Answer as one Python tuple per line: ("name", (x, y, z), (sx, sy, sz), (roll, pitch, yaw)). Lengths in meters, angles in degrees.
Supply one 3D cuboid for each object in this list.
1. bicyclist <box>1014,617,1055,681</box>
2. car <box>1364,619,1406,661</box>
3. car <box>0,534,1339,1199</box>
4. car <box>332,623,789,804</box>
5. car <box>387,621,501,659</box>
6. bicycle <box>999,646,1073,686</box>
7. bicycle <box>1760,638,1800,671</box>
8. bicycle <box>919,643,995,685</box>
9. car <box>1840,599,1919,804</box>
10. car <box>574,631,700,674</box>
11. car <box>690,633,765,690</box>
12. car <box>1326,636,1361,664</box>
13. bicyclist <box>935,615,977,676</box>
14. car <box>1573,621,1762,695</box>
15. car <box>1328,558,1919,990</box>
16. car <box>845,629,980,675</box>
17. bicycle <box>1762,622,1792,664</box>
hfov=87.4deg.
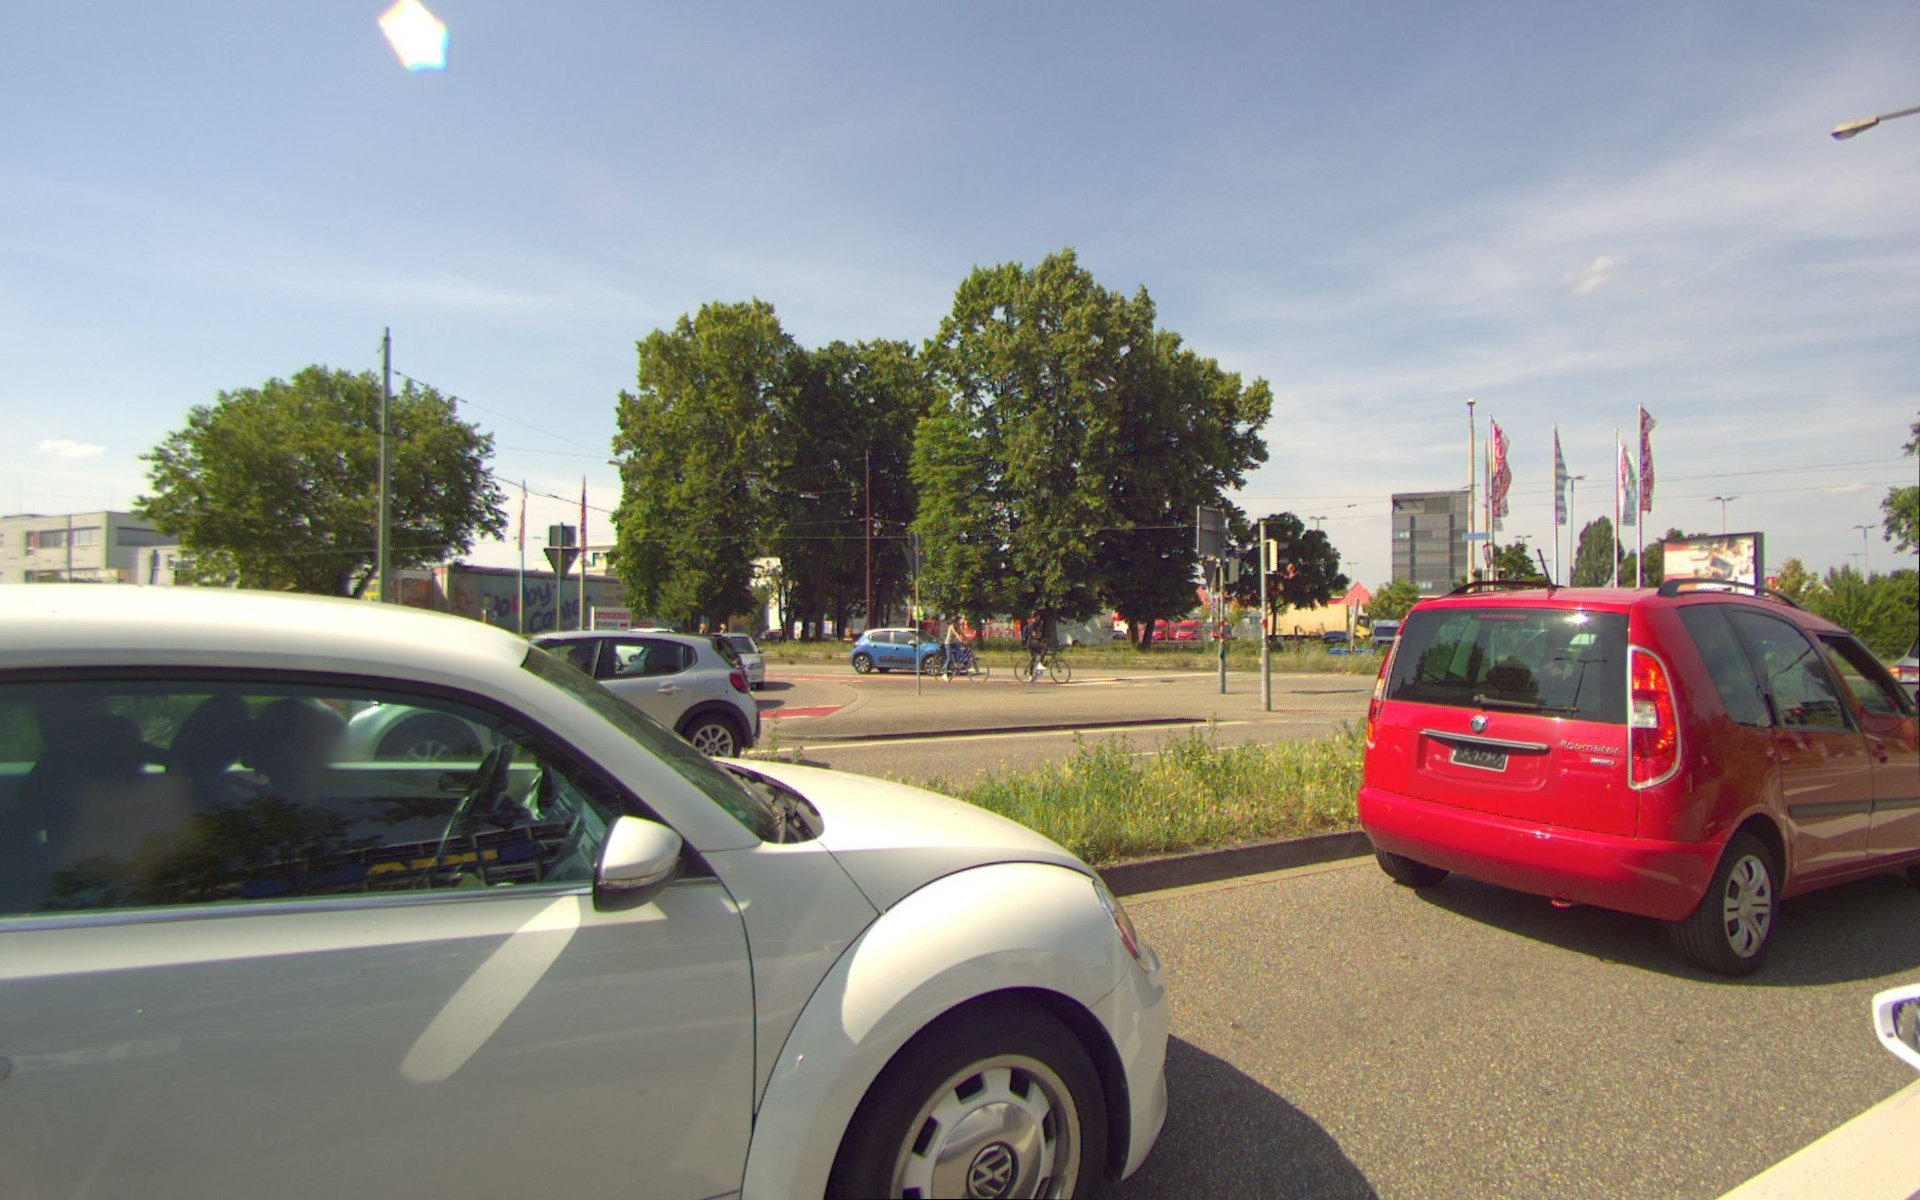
("bicyclist", (2.065, 1.348, 27.927), (0.883, 1.738, 0.782), (-1, 0, 25))
("car", (27.379, 2.552, 64.801), (1.960, 2.566, 4.642), (-1, -2, 17))
("car", (-1.255, 0.674, 2.220), (4.087, 1.499, 1.757), (1, 0, -31))
("car", (-3.896, 1.009, 10.074), (3.952, 1.489, 1.768), (1, -3, -30))
("car", (-20.417, 1.550, 39.728), (3.955, 1.439, 1.999), (-1, -2, 24))
("bicycle", (2.108, 1.817, 27.916), (1.917, 0.996, 0.788), (0, 1, 25))
("bicycle", (33.199, 2.186, 40.639), (2.225, 1.273, 0.668), (1, -2, -35))
("bicycle", (-0.084, 1.769, 27.990), (1.972, 1.053, 0.744), (0, 1, 25))
("car", (9.682, 0.842, 8.722), (4.163, 1.639, 1.872), (1, -1, -31))
("car", (-11.442, 1.812, 35.604), (3.924, 1.439, 1.999), (-1, -2, 24))
("car", (-6.149, 1.583, 26.867), (1.815, 1.407, 3.992), (0, -2, -11))
("car", (24.909, 3.224, 65.359), (1.960, 1.706, 4.001), (-1, -2, 18))
("bicyclist", (-0.117, 1.261, 28.100), (0.883, 1.668, 0.787), (-1, 0, 25))
("car", (14.679, 1.155, 20.815), (3.953, 1.408, 1.732), (1, -2, -31))
("car", (3.966, 0.733, 5.462), (3.872, 1.616, 1.621), (2, -2, -31))
("car", (-1.512, 1.648, 32.617), (3.921, 1.439, 2.000), (-1, -2, 20))
("bicycle", (32.902, 1.728, 40.464), (0.982, 1.636, 0.668), (1, -2, -35))
